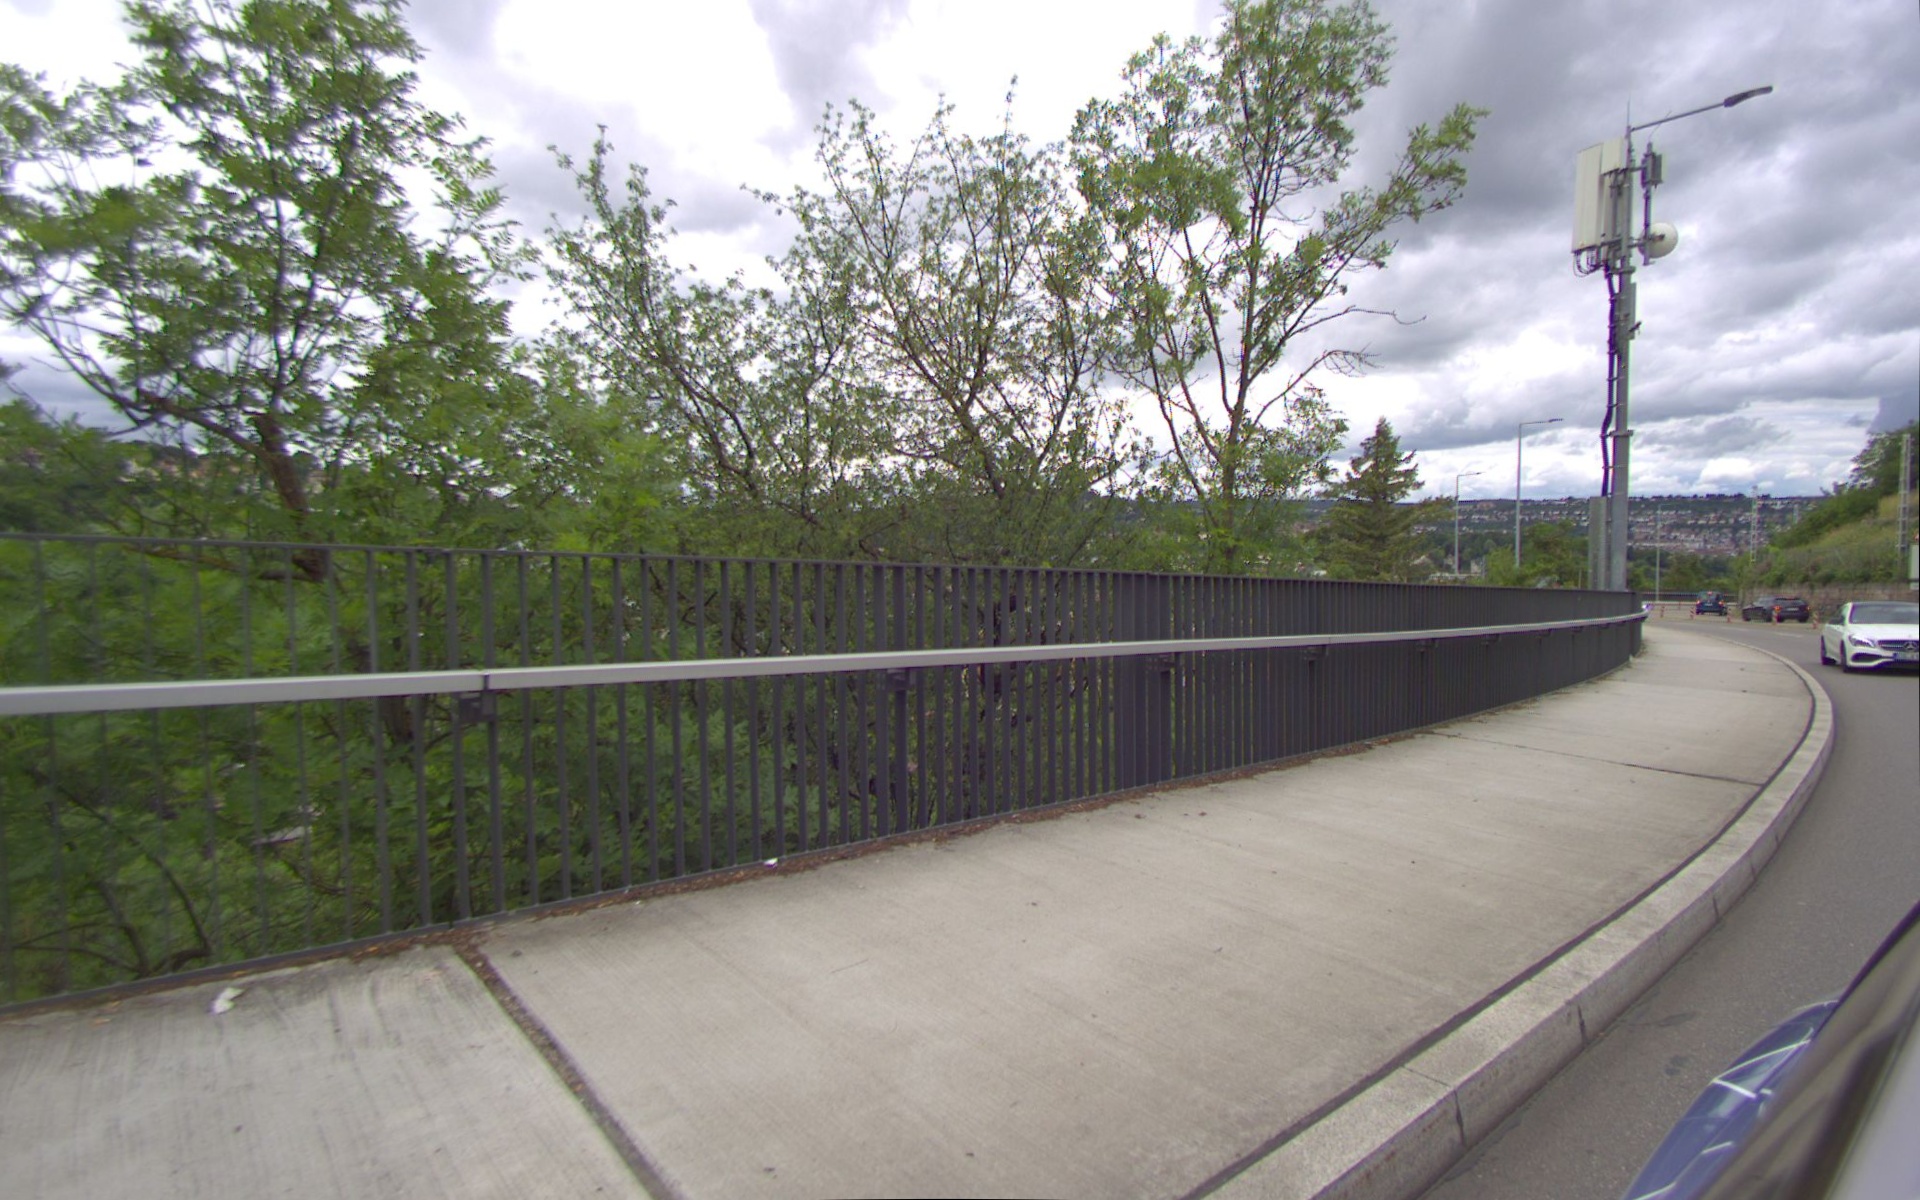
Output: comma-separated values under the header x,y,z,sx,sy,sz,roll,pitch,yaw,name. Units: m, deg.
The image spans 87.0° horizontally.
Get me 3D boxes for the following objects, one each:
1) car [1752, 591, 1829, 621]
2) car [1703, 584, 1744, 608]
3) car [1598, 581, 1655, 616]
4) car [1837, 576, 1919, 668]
x,y,z,sx,sy,sz,roll,pitch,yaw,name
44.234,0.299,54.005,1.834,1.431,4.384,-3,0,21,car
60.676,-0.332,80.419,4.654,1.805,1.852,-1,0,-43,car
34.540,-0.080,52.530,1.981,1.692,4.494,1,1,27,car
19.369,0.409,20.704,1.990,1.740,3.943,-1,-1,39,car
